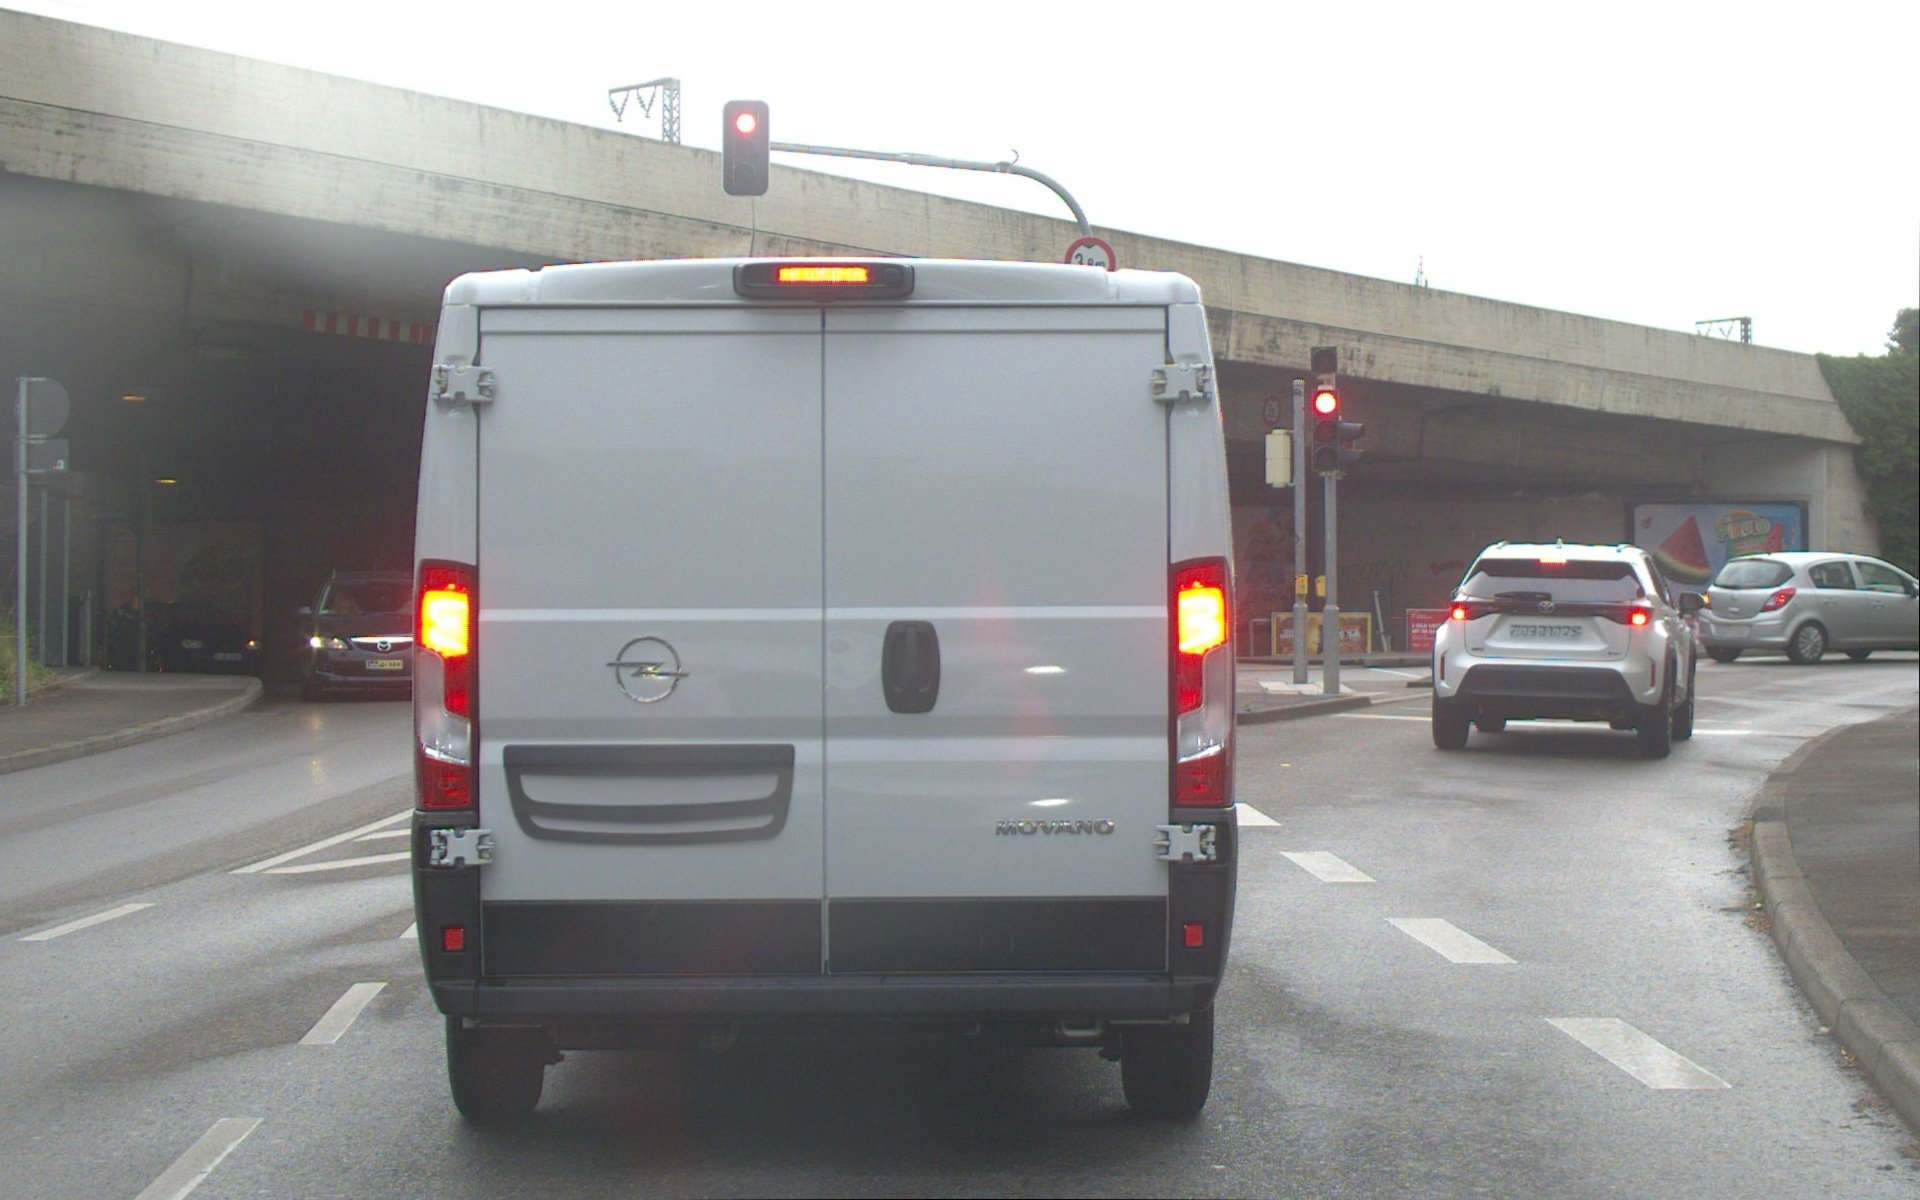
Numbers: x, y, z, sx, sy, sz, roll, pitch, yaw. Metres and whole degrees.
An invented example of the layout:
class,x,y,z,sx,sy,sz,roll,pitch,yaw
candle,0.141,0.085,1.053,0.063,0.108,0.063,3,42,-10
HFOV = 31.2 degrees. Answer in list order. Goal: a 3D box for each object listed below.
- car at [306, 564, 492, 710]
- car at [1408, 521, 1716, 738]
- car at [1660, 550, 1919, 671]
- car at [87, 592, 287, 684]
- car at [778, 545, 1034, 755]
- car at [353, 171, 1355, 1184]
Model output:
class,x,y,z,sx,sy,sz,roll,pitch,yaw
car,-6.336,0.375,39.230,1.841,1.564,4.413,0,1,-6
car,4.751,0.226,26.699,1.995,1.544,3.997,0,0,15
car,11.482,0.151,45.667,3.987,1.549,2.000,0,-1,-31
car,-13.321,0.643,59.116,1.994,1.513,3.999,0,-1,-35
car,-0.401,0.425,30.199,1.994,1.723,3.999,0,0,3
car,-0.247,0.133,10.768,2.305,2.335,5.282,-2,1,0
